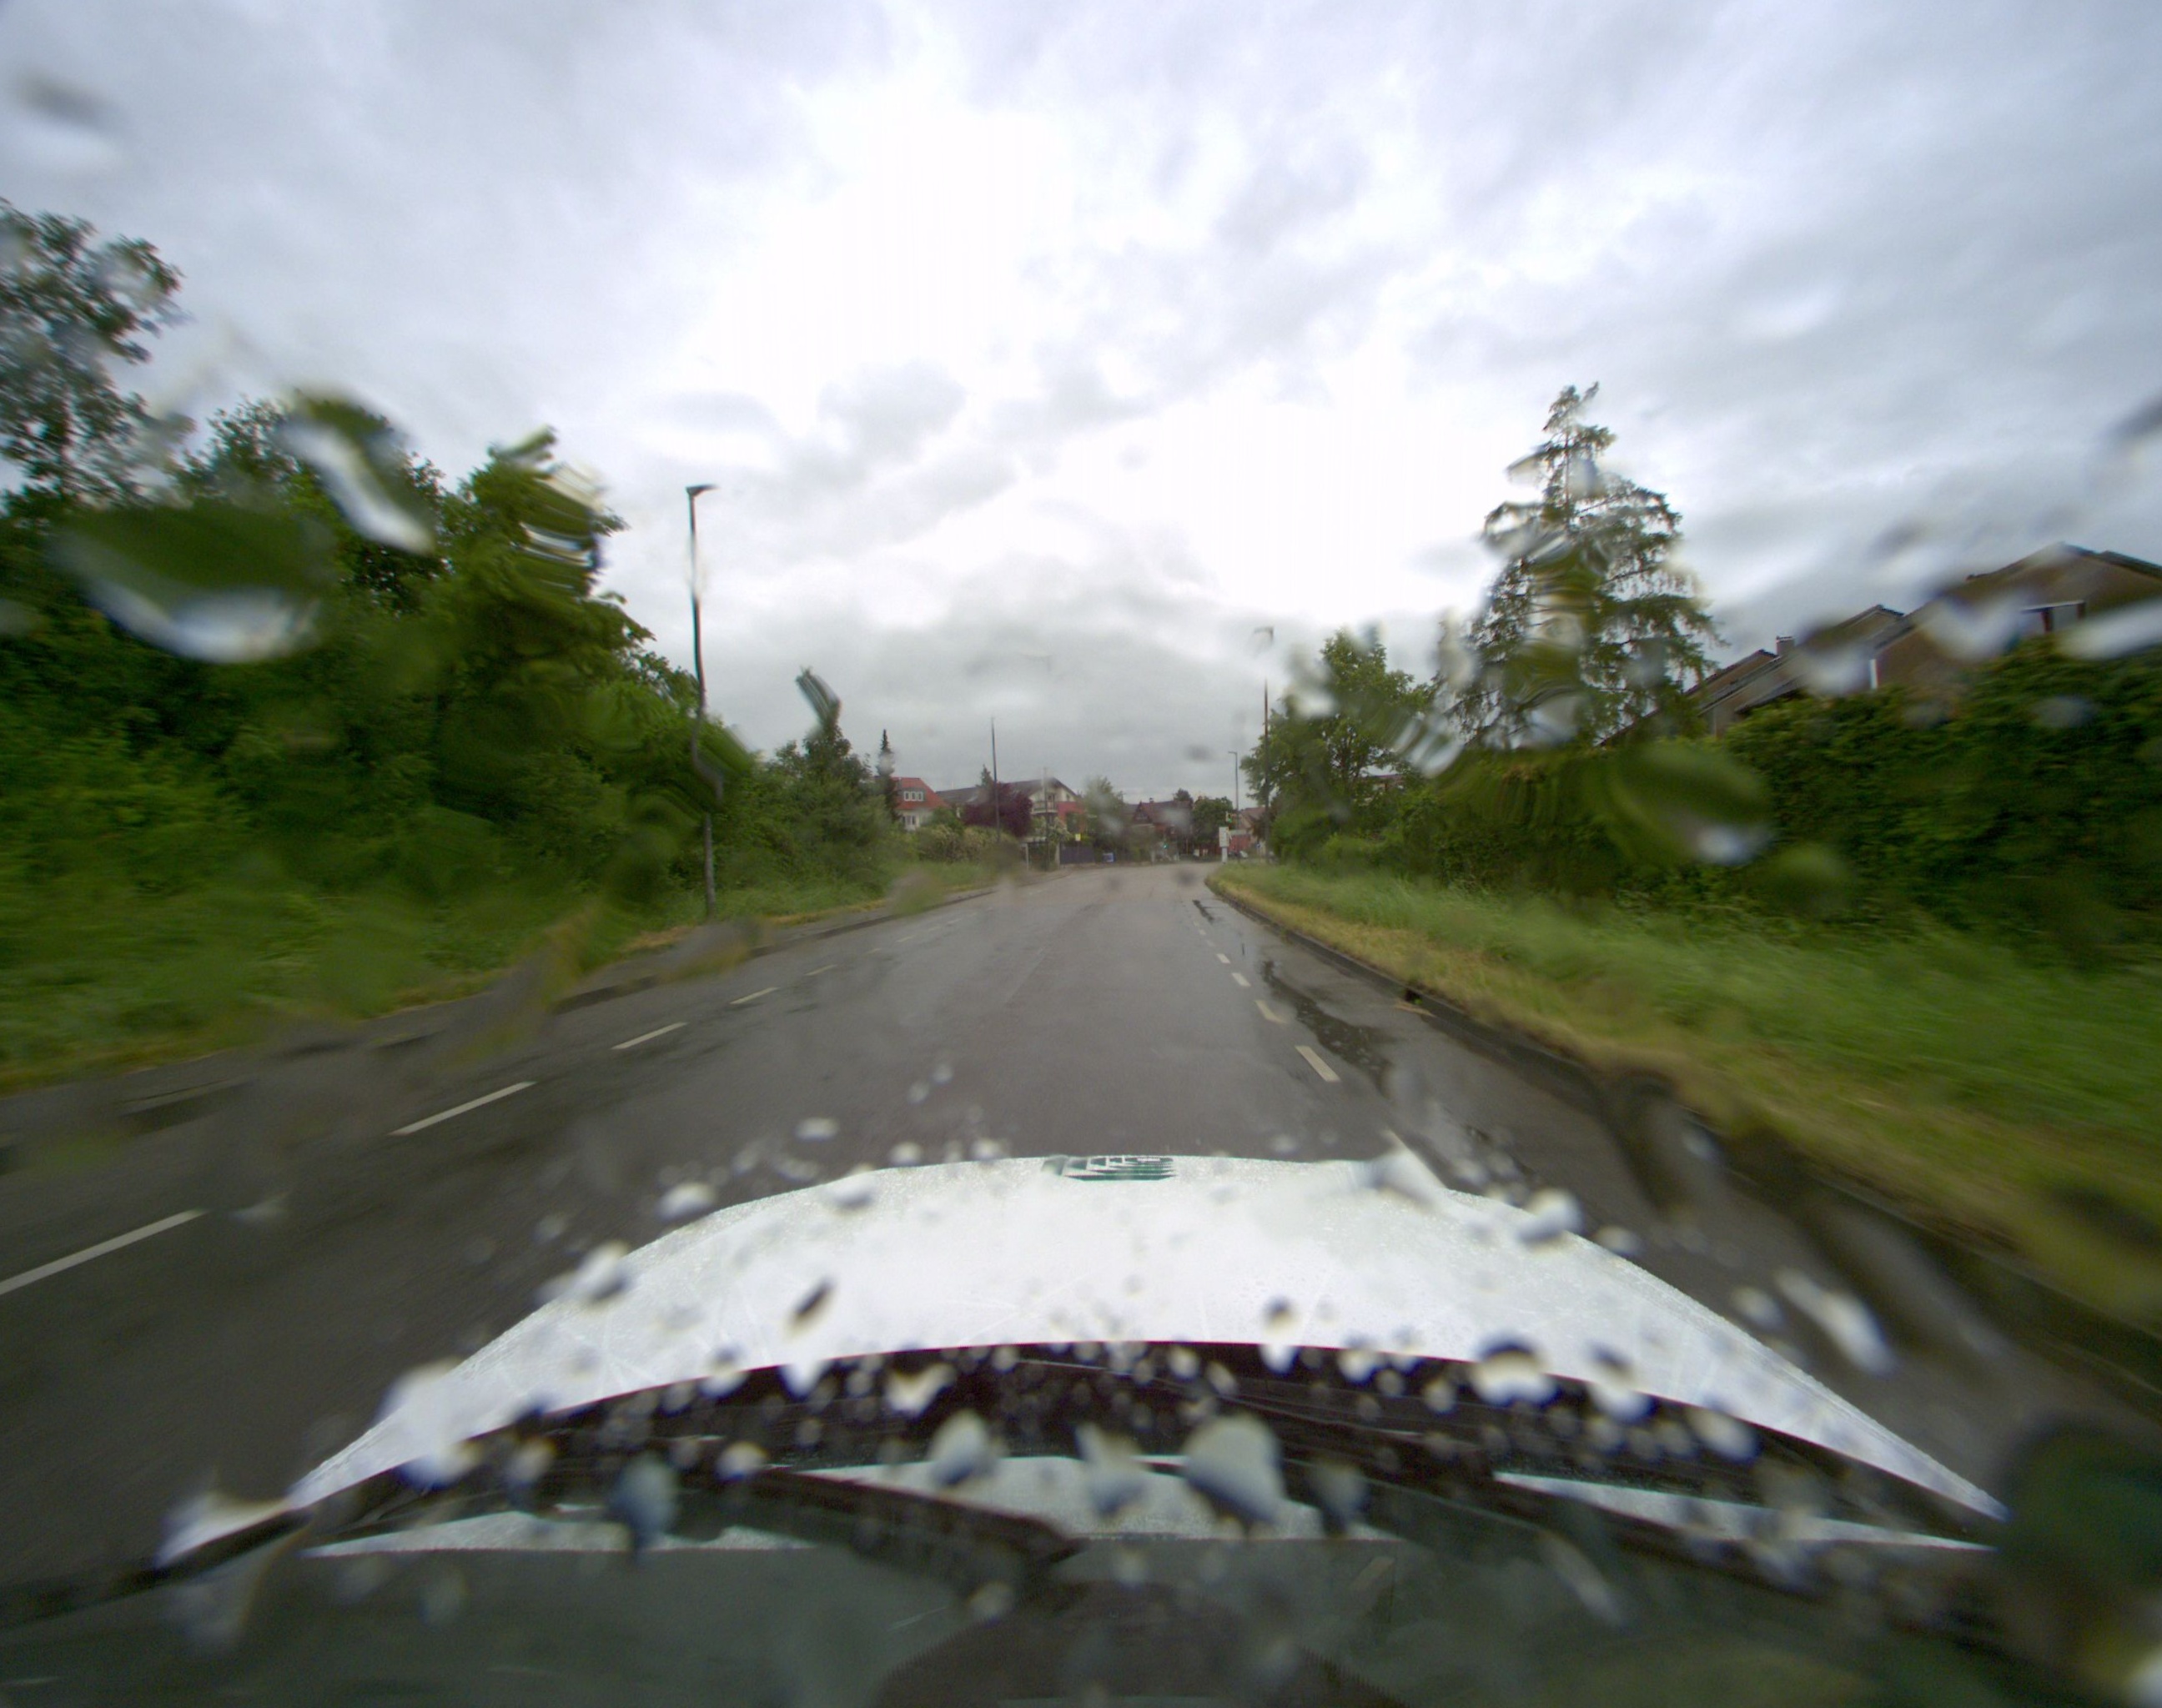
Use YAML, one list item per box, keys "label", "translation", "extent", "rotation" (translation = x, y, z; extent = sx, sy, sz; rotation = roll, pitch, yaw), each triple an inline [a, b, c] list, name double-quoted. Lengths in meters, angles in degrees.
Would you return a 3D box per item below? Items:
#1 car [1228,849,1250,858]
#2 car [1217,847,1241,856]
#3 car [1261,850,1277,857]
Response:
- label: "car"
  translation: [28.659, -0.079, 147.889]
  extent: [3.427, 1.479, 1.601]
  rotation: [-2, -1, 36]
- label: "car"
  translation: [25.912, -0.510, 142.676]
  extent: [3.541, 1.506, 1.867]
  rotation: [1, 1, 38]
- label: "car"
  translation: [34.566, -0.107, 149.691]
  extent: [1.611, 1.355, 4.137]
  rotation: [0, 1, 33]
